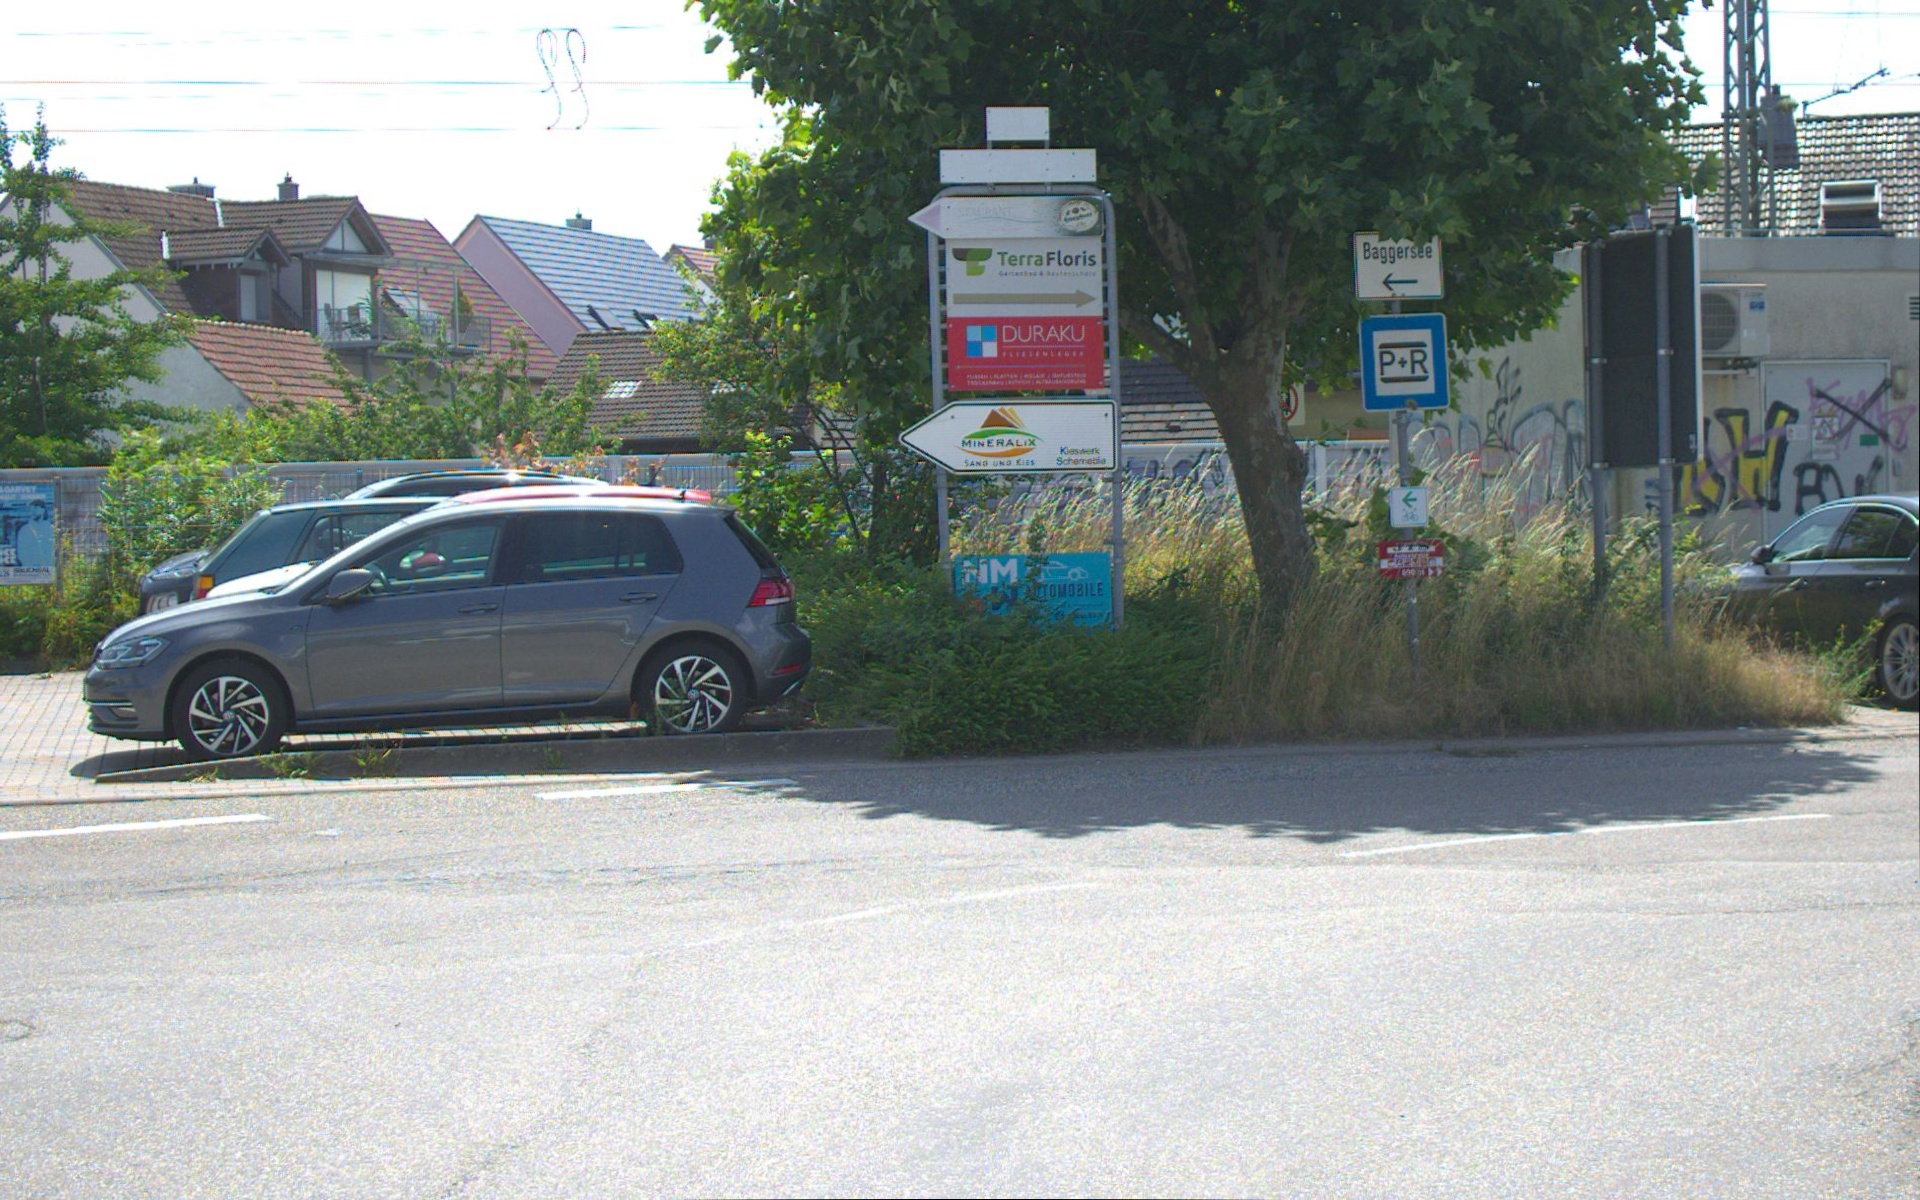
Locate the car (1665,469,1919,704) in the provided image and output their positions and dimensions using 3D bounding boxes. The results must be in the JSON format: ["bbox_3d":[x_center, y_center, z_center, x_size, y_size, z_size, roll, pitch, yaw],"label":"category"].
[{"bbox_3d":[6.681,-0.106,23.499,1.751,1.381,4.002,0,5,-20],"label":"car"}]

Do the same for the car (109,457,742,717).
[{"bbox_3d":[-3.542,-0.106,22.944,3.986,1.581,1.780,-1,1,-9],"label":"car"}]

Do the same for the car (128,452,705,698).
[{"bbox_3d":[-3.974,-0.214,25.242,3.986,1.651,2.001,-1,1,-10],"label":"car"}]

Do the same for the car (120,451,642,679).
[{"bbox_3d":[-4.635,-0.275,27.677,3.986,1.724,1.771,1,1,-9],"label":"car"}]

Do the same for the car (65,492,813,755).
[{"bbox_3d":[-3.042,0.111,20.302,4.186,1.458,1.665,0,1,-9],"label":"car"}]
